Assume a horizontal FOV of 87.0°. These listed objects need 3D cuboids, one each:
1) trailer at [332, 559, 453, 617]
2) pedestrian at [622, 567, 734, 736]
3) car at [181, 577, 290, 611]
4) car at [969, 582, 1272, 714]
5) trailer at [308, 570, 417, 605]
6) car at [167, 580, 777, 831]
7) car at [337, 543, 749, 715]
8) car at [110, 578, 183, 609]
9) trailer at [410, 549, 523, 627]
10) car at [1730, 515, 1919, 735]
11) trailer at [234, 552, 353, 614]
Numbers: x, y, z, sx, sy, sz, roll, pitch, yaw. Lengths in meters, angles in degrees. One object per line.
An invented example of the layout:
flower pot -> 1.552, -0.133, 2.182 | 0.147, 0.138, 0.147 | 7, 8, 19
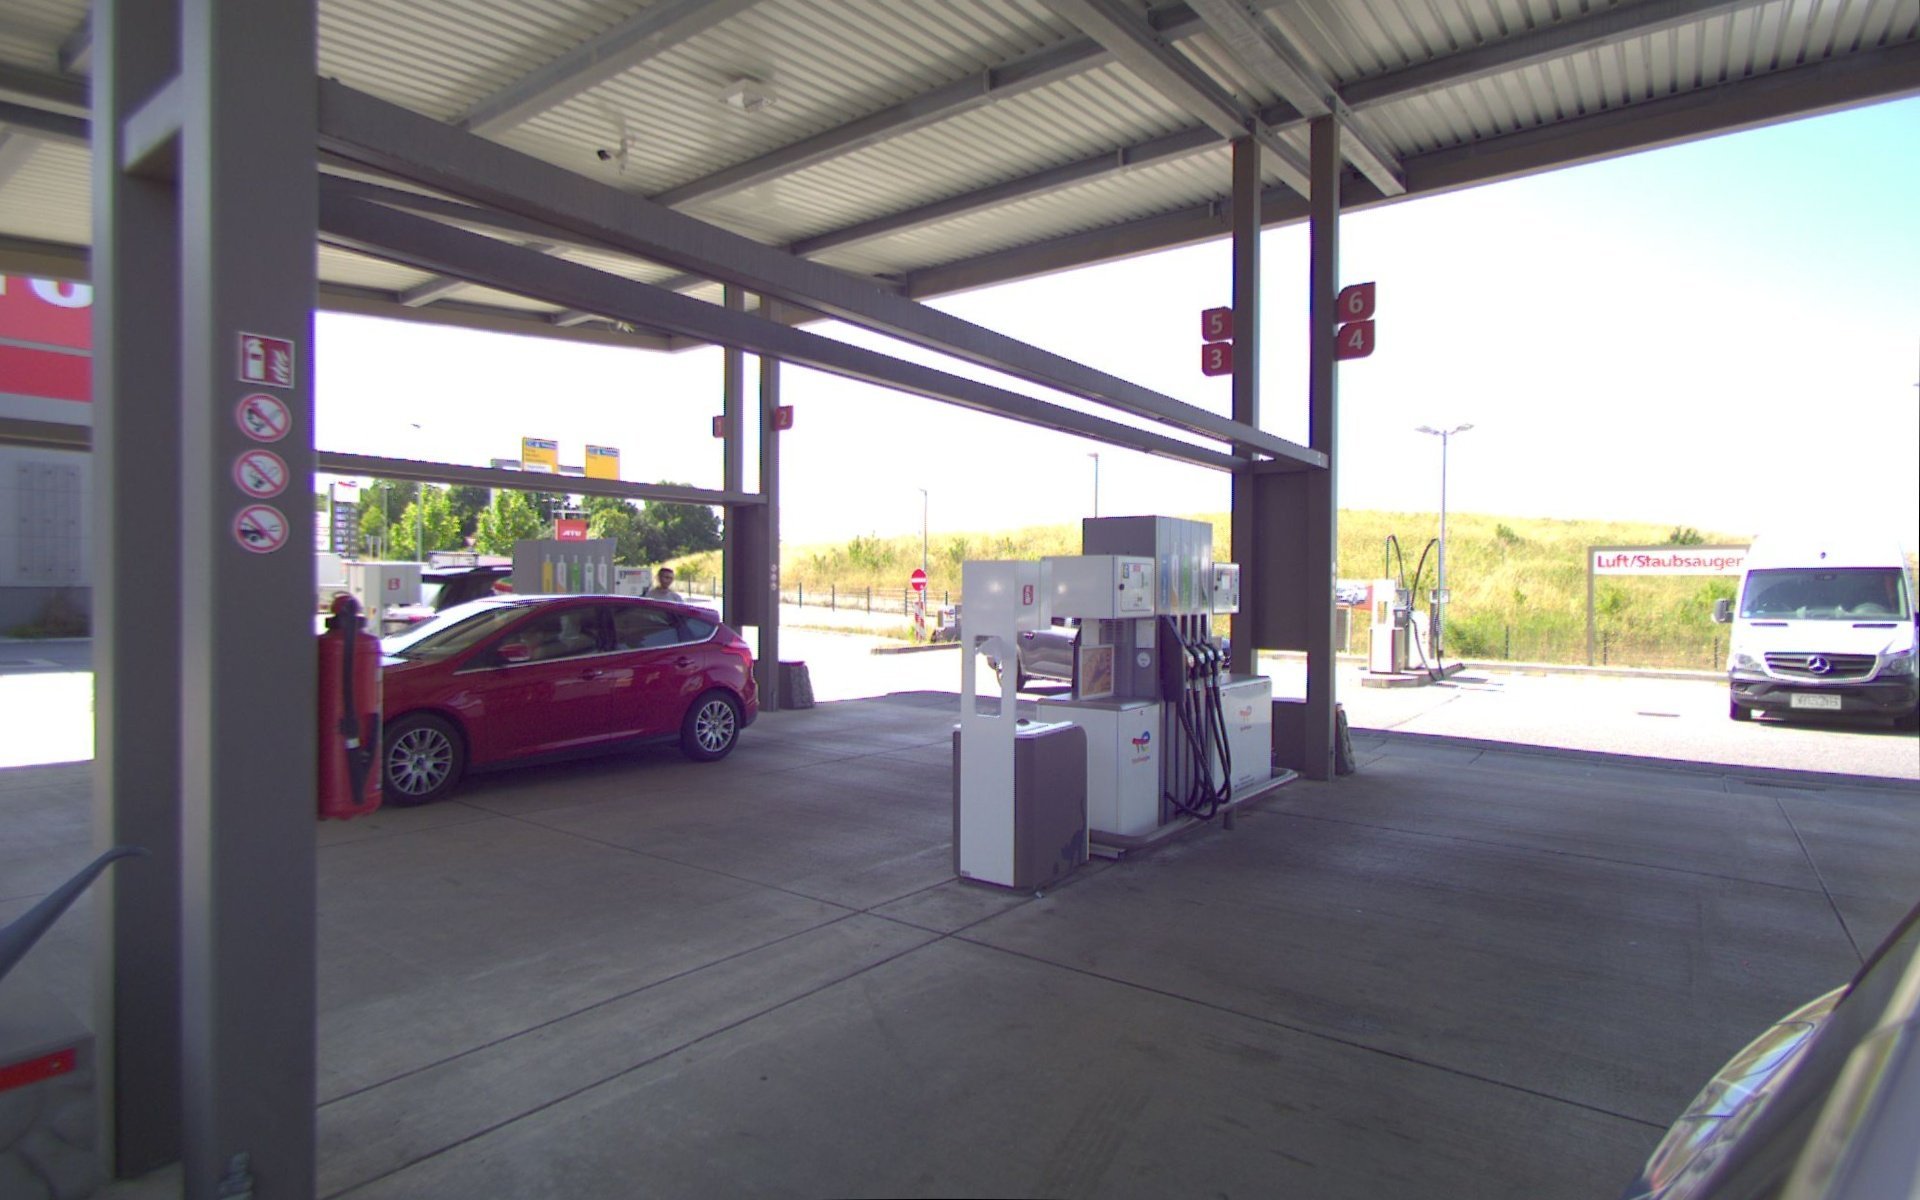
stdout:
trailer -> -21.069, -0.446, 37.768 | 1.775, 2.039, 3.986 | 1, 0, 12
pedestrian -> -3.028, 0.522, 10.889 | 0.698, 1.724, 0.917 | 1, 0, 31
car -> -30.148, -0.262, 42.247 | 1.651, 1.334, 3.833 | 1, 1, 3
car -> 2.205, 0.583, 15.206 | 1.711, 1.665, 4.631 | 1, 0, -36
trailer -> -23.179, -0.483, 39.416 | 1.554, 1.297, 3.706 | 1, 0, 12
car -> -3.609, 0.622, 8.233 | 1.694, 1.487, 4.178 | 1, 0, 36
car -> -5.322, 0.339, 13.565 | 2.022, 1.874, 4.734 | 1, 0, 36
car -> -37.571, -0.298, 46.722 | 3.811, 1.334, 1.660 | 2, 1, 35
trailer -> -16.715, -0.403, 34.524 | 1.961, 2.458, 4.001 | 1, 0, -1
car -> 13.091, 0.161, 15.037 | 1.993, 2.602, 6.925 | 1, 3, 42
trailer -> -27.729, -0.694, 42.243 | 1.967, 2.458, 3.990 | 1, 0, 9
